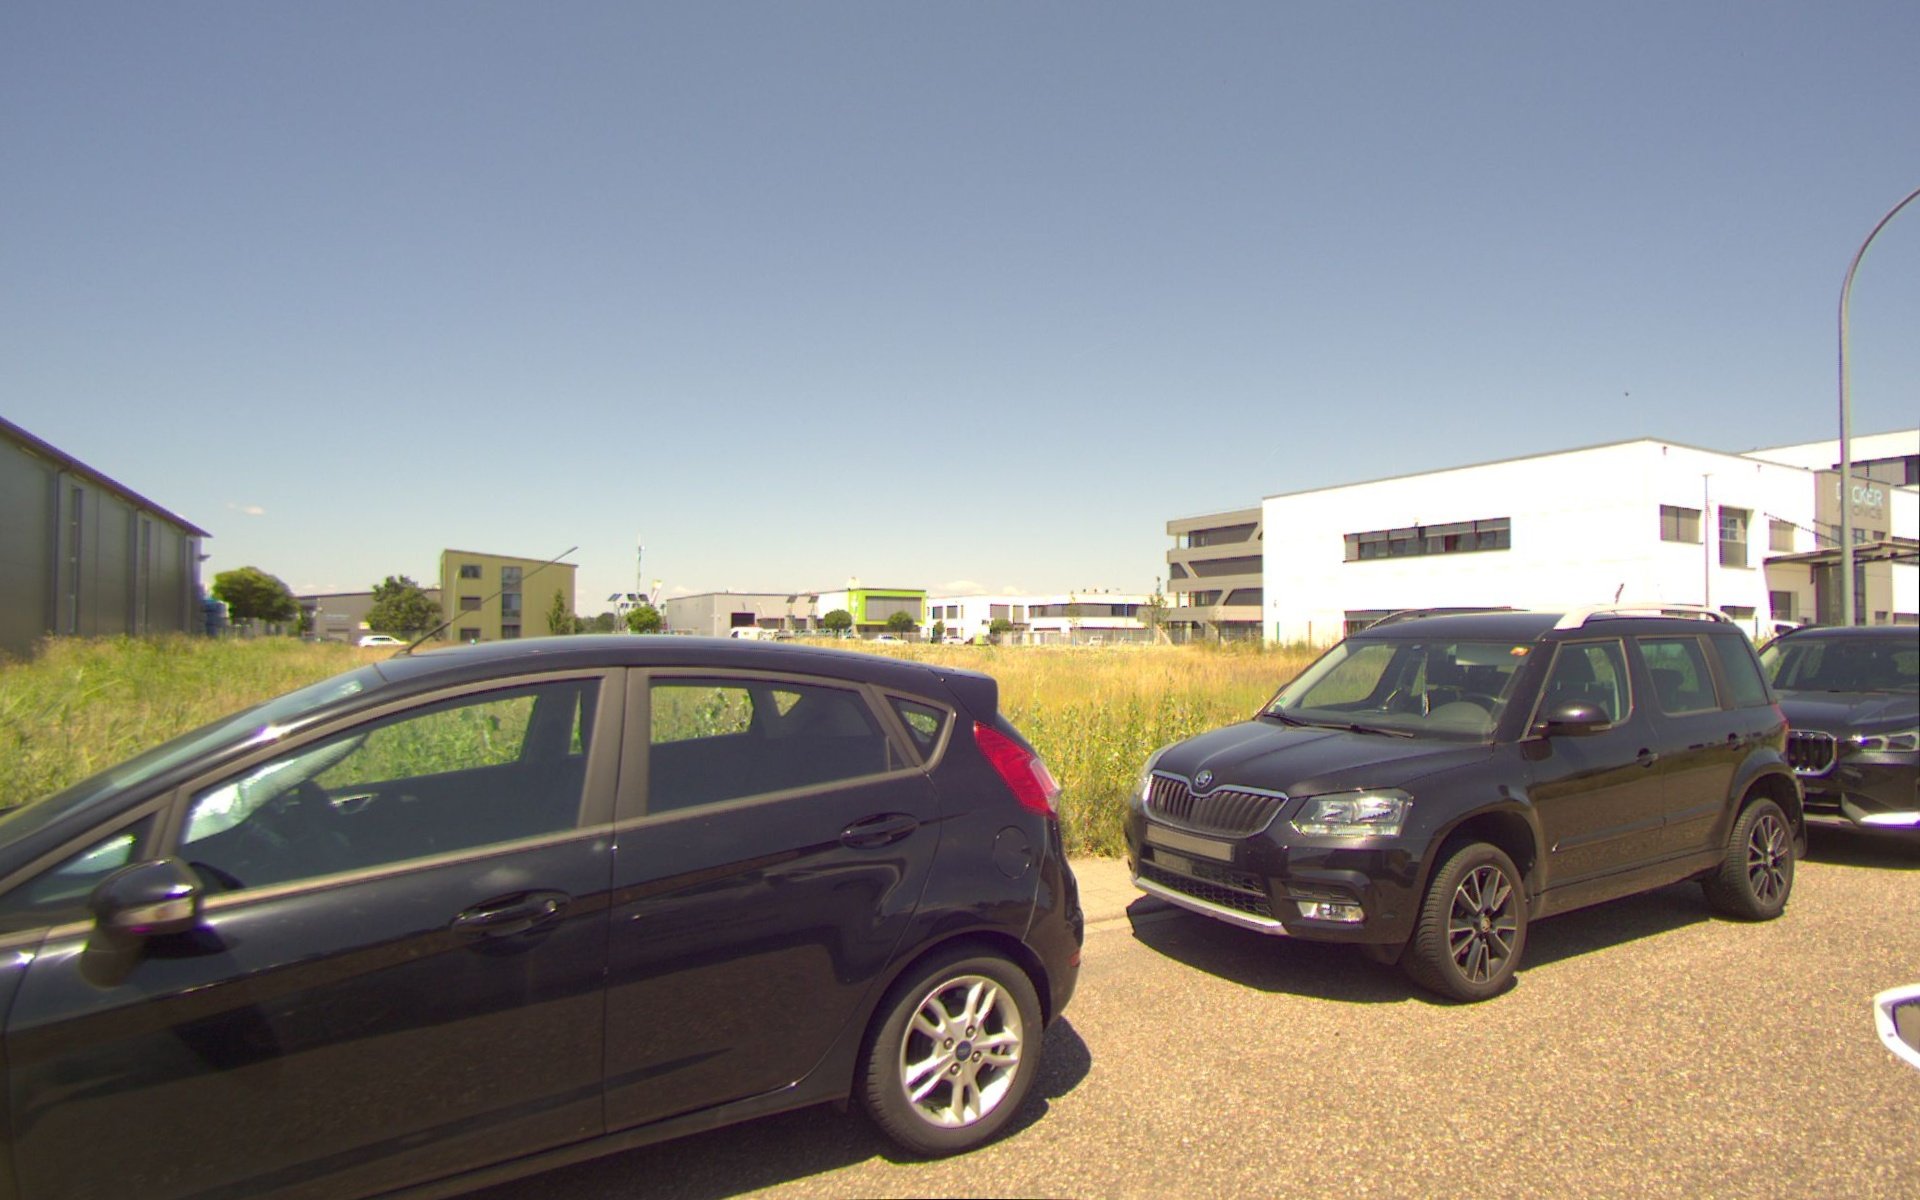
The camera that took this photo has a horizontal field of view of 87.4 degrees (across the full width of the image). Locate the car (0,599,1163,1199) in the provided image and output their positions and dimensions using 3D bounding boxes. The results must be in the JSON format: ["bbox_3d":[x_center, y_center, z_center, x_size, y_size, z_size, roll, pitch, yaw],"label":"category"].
[{"bbox_3d":[-1.387,0.799,2.890,3.788,1.512,1.583,1,-3,-30],"label":"car"}]

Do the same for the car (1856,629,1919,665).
[{"bbox_3d":[51.961,2.554,54.526,2.007,1.968,4.509,1,-3,-29],"label":"car"}]

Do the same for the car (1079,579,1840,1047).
[{"bbox_3d":[2.820,0.835,5.433,4.186,1.685,1.669,1,-3,-30],"label":"car"}]

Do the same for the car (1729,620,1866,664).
[{"bbox_3d":[39.278,1.987,47.226,2.007,1.968,4.509,1,-3,-29],"label":"car"}]

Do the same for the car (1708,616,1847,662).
[{"bbox_3d":[37.119,1.793,45.730,2.007,1.968,4.509,1,-3,-29],"label":"car"}]

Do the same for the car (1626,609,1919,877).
[{"bbox_3d":[7.564,0.973,8.191,4.499,1.685,1.760,1,-3,-30],"label":"car"}]

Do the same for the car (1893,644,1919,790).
[{"bbox_3d":[12.416,1.232,11.078,4.956,1.505,1.760,1,-3,-31],"label":"car"}]

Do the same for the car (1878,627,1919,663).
[{"bbox_3d":[54.413,2.509,55.911,2.007,1.968,4.509,1,-3,-29],"label":"car"}]

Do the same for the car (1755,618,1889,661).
[{"bbox_3d":[41.791,1.931,48.809,2.007,1.968,4.509,1,-3,-29],"label":"car"}]
